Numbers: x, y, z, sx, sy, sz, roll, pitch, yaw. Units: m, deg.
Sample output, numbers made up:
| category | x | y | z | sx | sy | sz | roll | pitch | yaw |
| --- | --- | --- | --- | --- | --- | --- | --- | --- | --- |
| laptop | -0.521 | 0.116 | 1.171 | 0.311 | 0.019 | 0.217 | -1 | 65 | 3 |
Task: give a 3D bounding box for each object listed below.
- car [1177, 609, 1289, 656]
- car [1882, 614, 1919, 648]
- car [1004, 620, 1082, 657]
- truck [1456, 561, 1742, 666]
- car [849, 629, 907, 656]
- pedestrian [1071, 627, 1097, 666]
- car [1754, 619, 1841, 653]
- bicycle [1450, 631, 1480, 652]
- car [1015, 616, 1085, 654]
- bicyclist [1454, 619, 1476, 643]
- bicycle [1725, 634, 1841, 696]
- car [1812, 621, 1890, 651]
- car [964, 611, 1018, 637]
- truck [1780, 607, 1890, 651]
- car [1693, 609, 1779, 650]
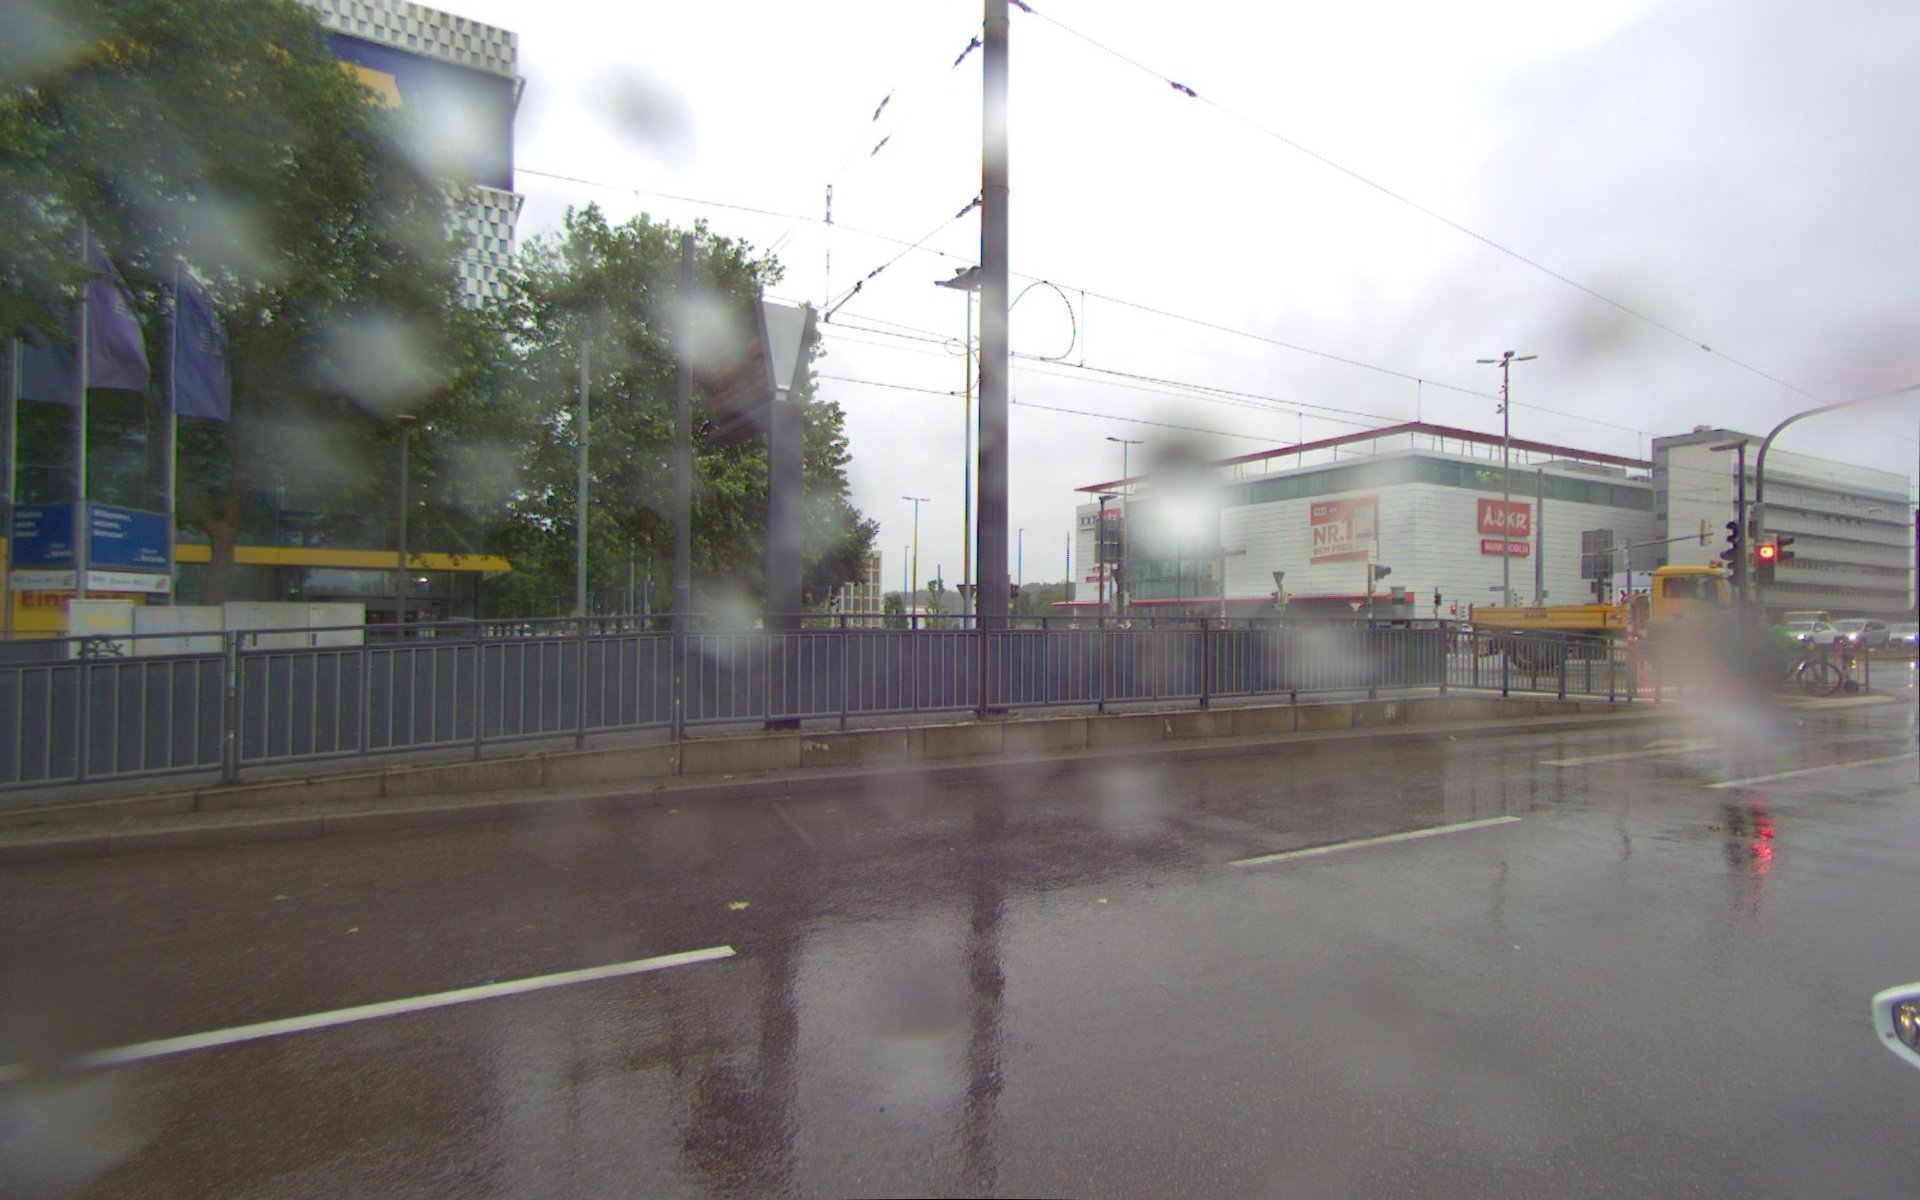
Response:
| category | x | y | z | sx | sy | sz | roll | pitch | yaw |
| --- | --- | --- | --- | --- | --- | --- | --- | --- | --- |
| car | 10.755 | 1.263 | 39.729 | 1.609 | 1.682 | 4.027 | 2 | 0 | -43 |
| car | 51.386 | 1.692 | 53.600 | 3.947 | 1.722 | 1.886 | 2 | 0 | -26 |
| car | 4.325 | 1.998 | 52.673 | 1.980 | 1.711 | 3.960 | 2 | 0 | -35 |
| truck | 19.393 | 0.355 | 30.807 | 7.043 | 2.853 | 2.627 | 1 | 0 | 43 |
| car | -5.945 | 3.035 | 72.496 | 1.985 | 1.656 | 4.165 | 1 | 2 | -42 |
| pedestrian | 5.070 | 1.883 | 41.032 | 0.863 | 1.557 | 0.560 | 2 | 0 | -31 |
| car | 39.733 | 1.702 | 47.660 | 3.823 | 1.512 | 1.693 | 2 | 0 | -25 |
| bicycle | 24.635 | 2.034 | 49.002 | 1.688 | 1.000 | 0.448 | 2 | 0 | -30 |
| car | 5.244 | 2.036 | 58.900 | 1.976 | 2.040 | 4.295 | 2 | 0 | -29 |
| bicyclist | 24.615 | 1.526 | 48.990 | 0.639 | 1.149 | 0.681 | 2 | 0 | -29 |
| bicycle | 16.720 | 1.298 | 20.458 | 0.409 | 1.048 | 1.742 | 2 | 3 | -31 |
| car | 44.869 | 1.804 | 50.591 | 3.780 | 1.354 | 1.582 | 2 | 0 | -26 |
| car | 2.183 | 1.673 | 70.203 | 3.723 | 1.645 | 2.001 | 2 | 0 | 2 |
| truck | 49.806 | 1.670 | 57.133 | 7.542 | 2.309 | 2.341 | 2 | 0 | -30 |
| car | 40.409 | 1.540 | 52.287 | 3.947 | 2.040 | 1.987 | 2 | 0 | -26 |
